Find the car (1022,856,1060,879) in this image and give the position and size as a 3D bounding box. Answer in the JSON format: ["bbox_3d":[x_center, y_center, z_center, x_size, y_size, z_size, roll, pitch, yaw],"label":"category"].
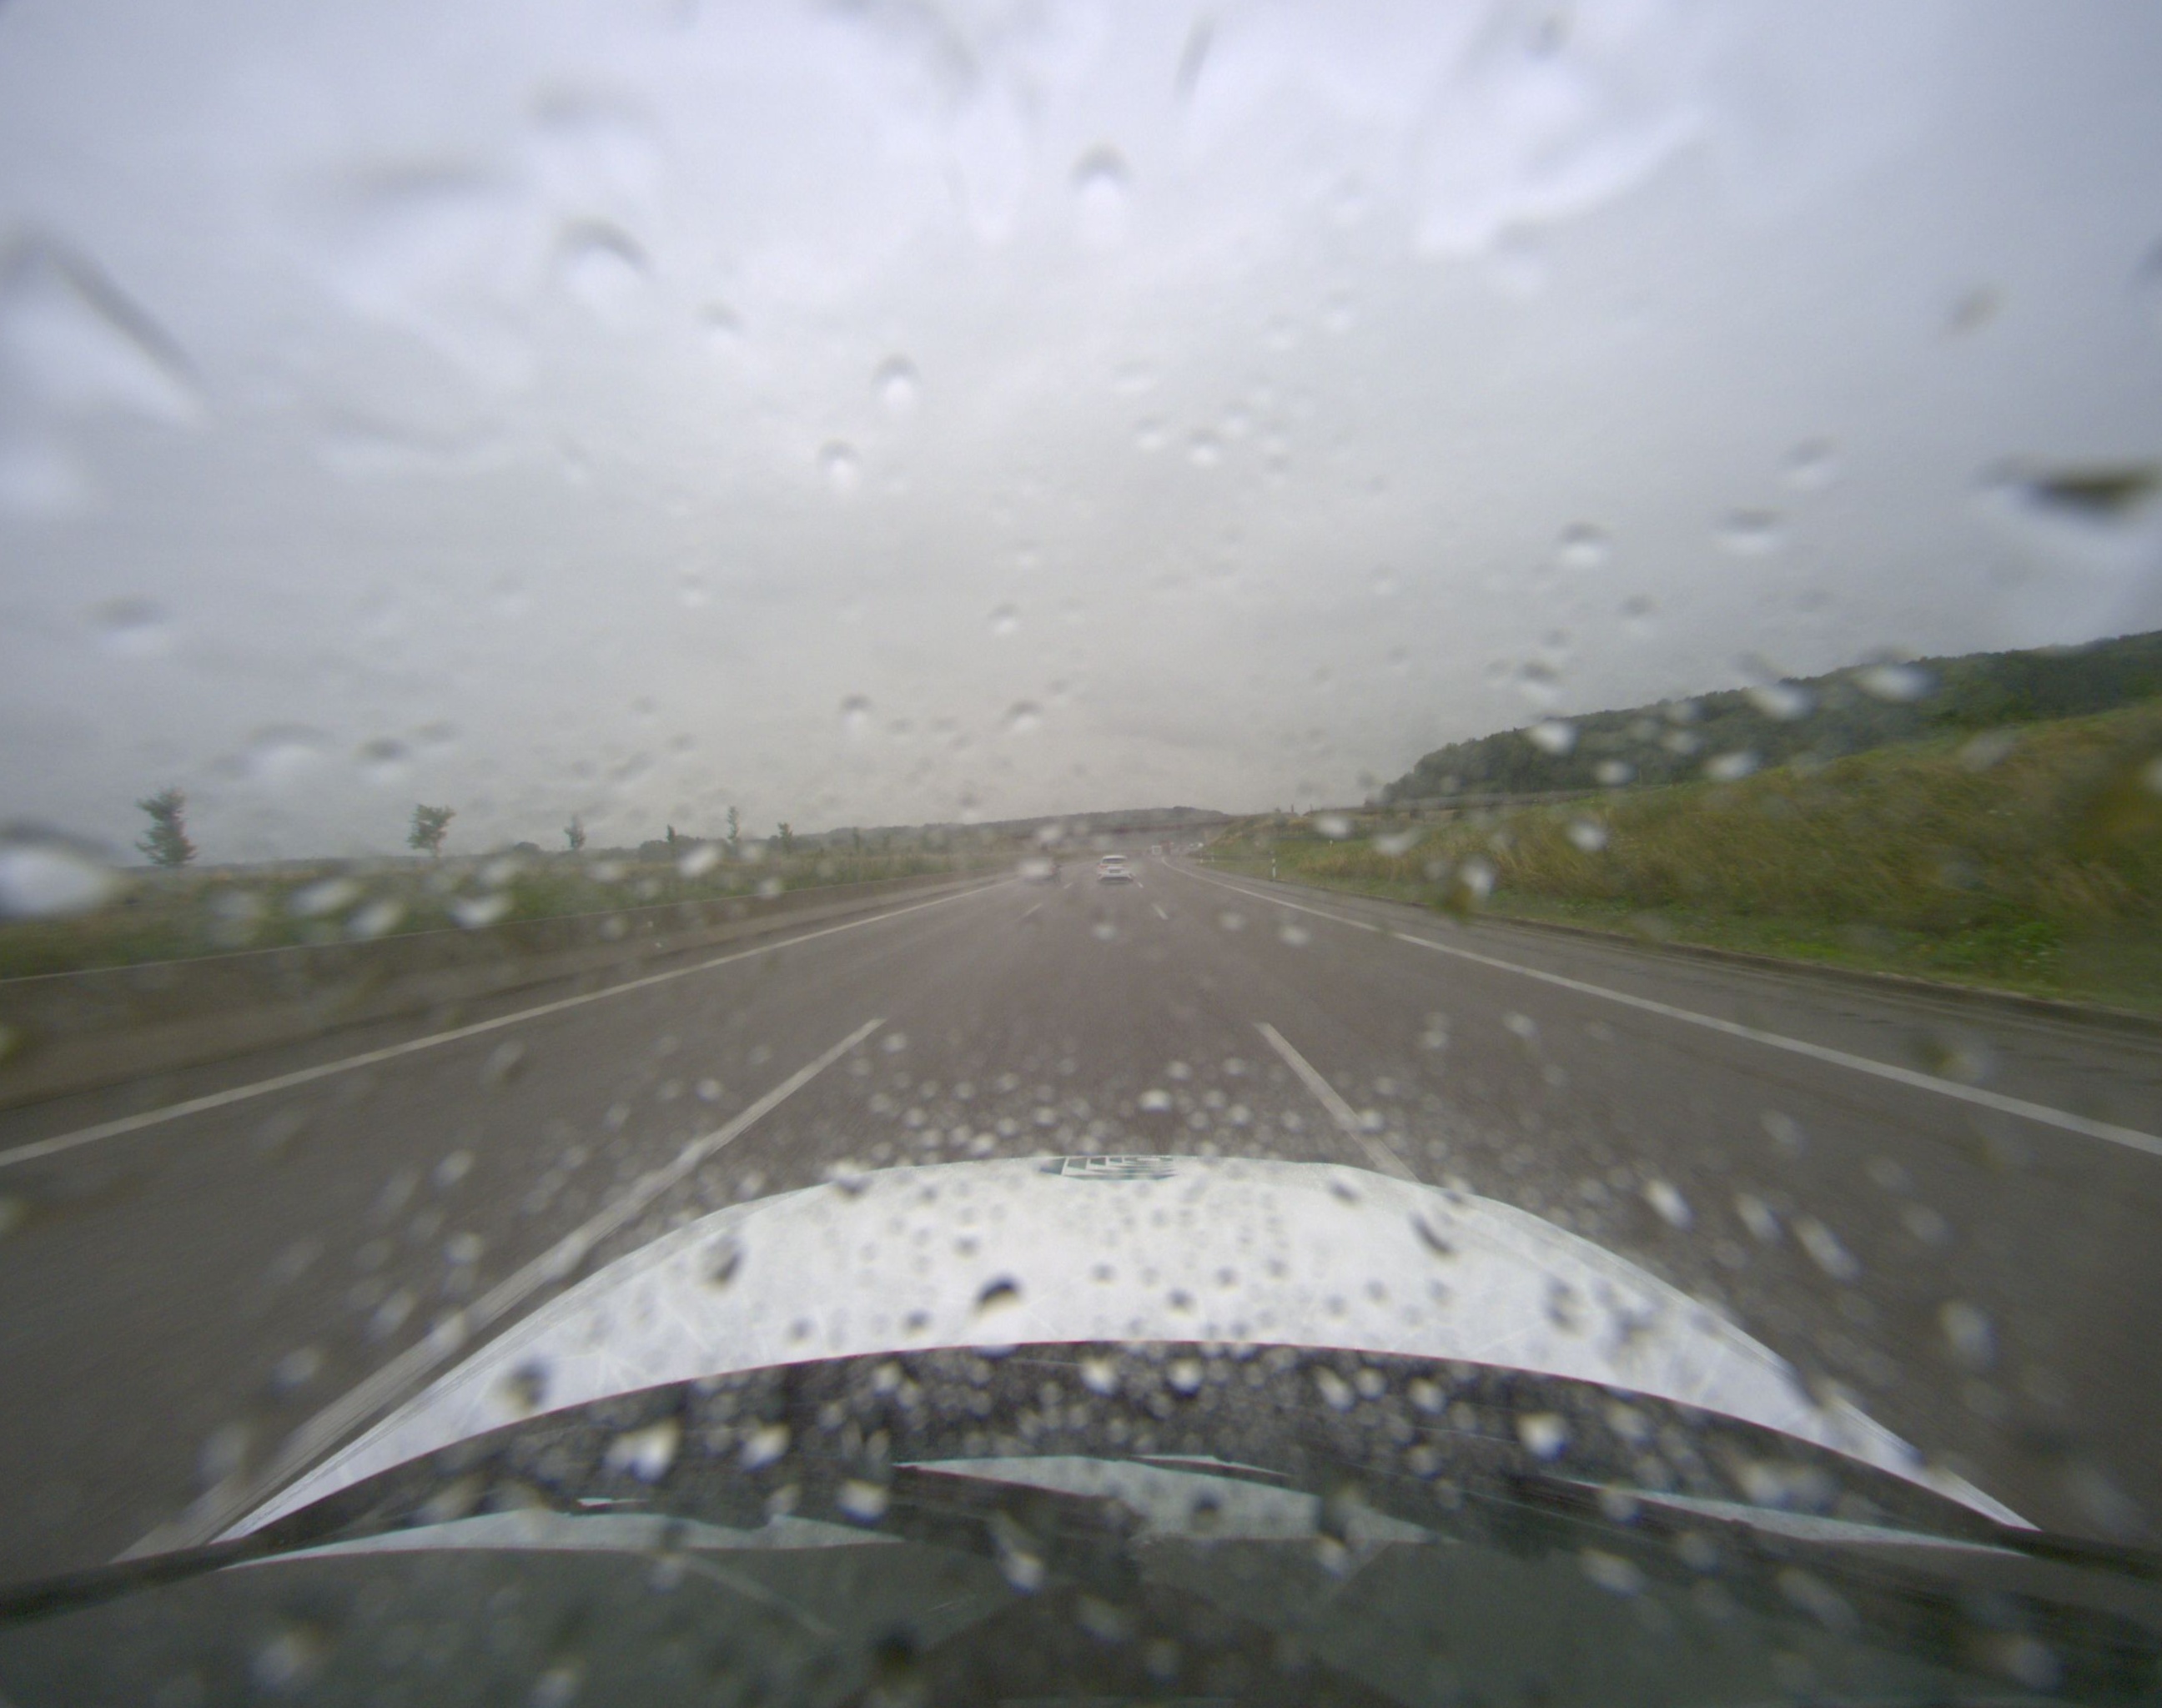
[{"bbox_3d":[-2.083,0.729,43.467,1.818,1.156,4.211,-1,-1,-1],"label":"car"}]

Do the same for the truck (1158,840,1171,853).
[{"bbox_3d":[24.635,-2.332,241.656,3.511,3.742,11.441,-1,1,4],"label":"truck"}]

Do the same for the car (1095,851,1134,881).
[{"bbox_3d":[1.708,0.600,41.818,1.860,1.463,4.002,-1,0,2],"label":"car"}]

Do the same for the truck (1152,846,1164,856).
[{"bbox_3d":[17.755,-0.731,187.297,2.394,2.252,4.704,-1,0,8],"label":"truck"}]

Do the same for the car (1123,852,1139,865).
[{"bbox_3d":[6.381,0.595,104.399,1.985,1.618,4.003,-1,0,3],"label":"car"}]
